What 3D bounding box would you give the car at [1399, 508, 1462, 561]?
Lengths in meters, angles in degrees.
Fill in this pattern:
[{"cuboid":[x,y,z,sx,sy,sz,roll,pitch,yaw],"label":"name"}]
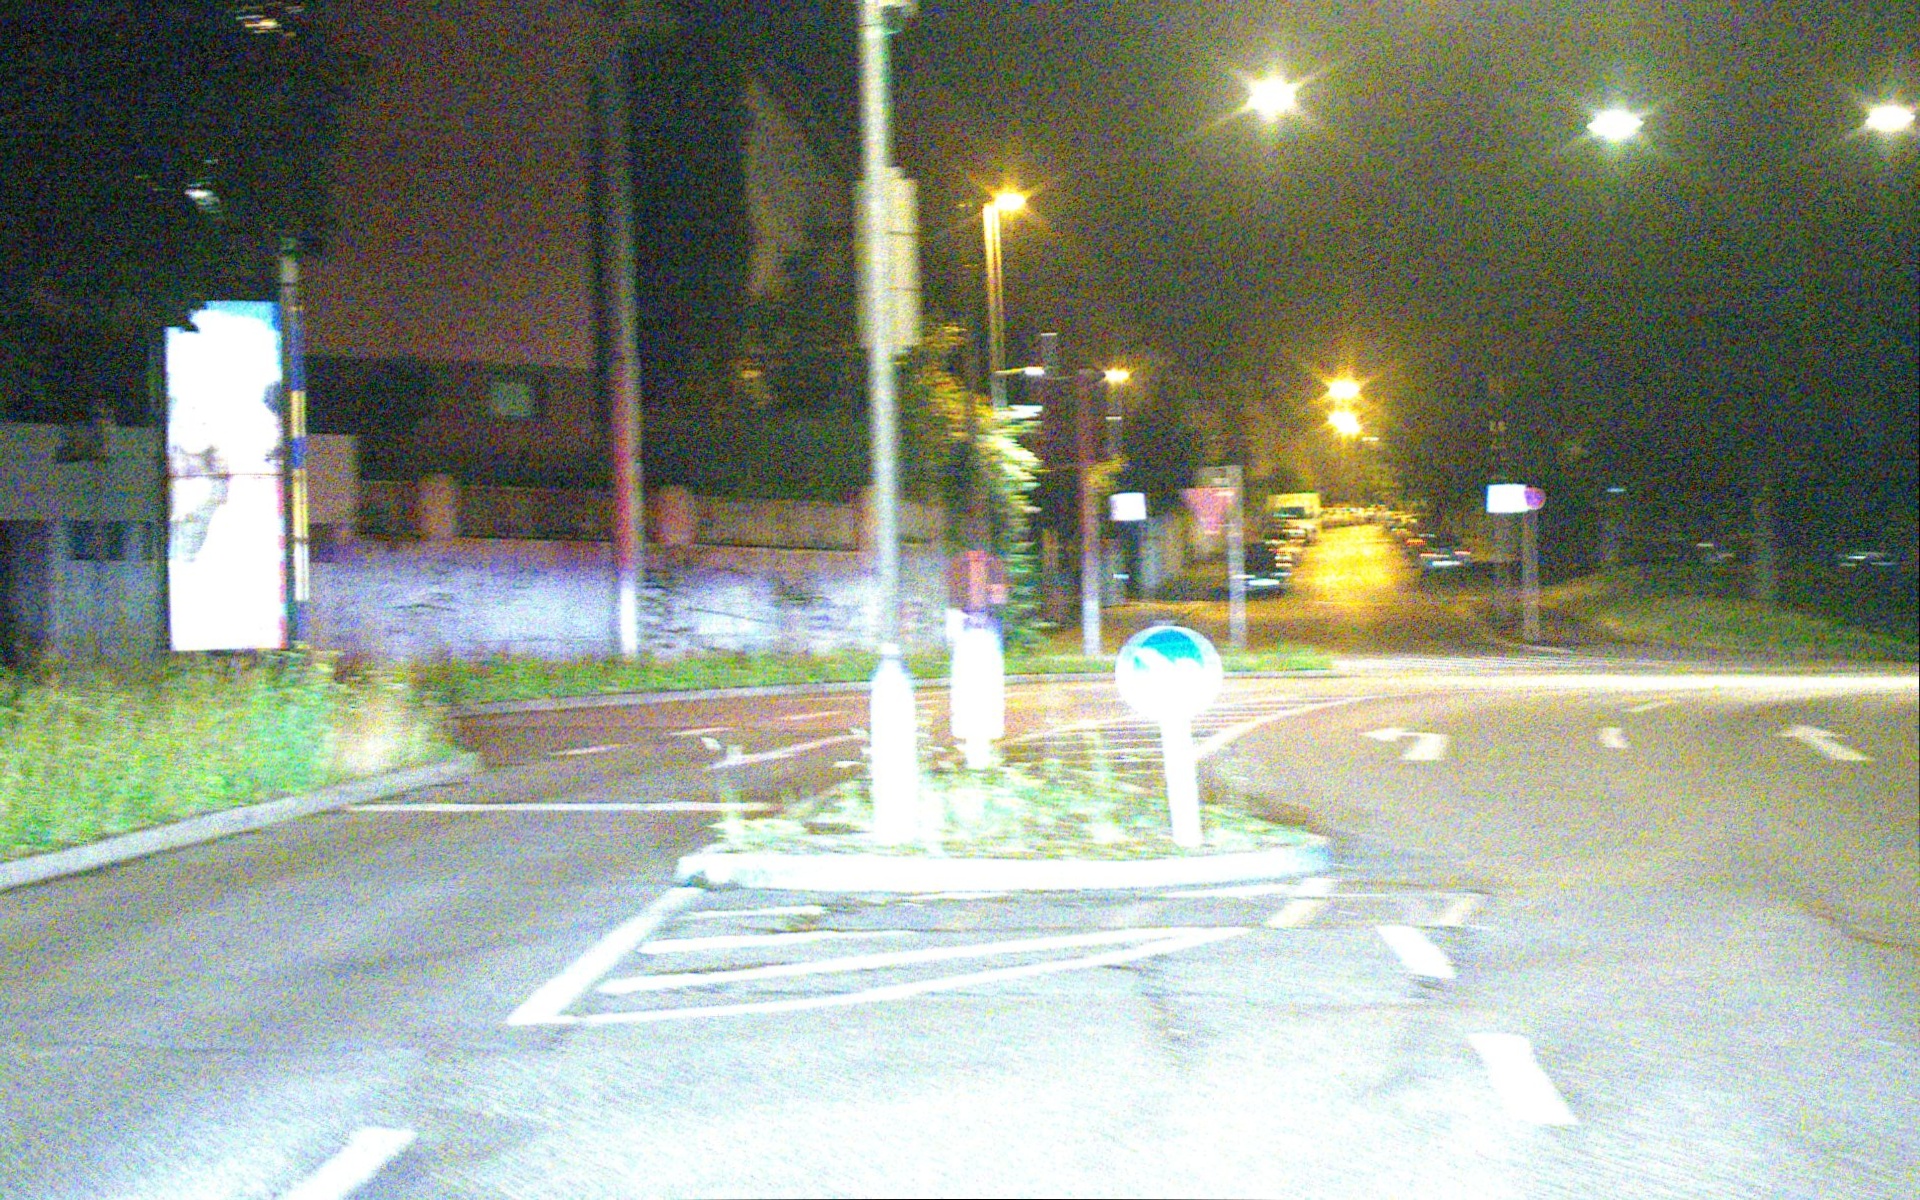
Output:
[{"cuboid":[16.129,-2.258,117.913,1.994,1.763,3.999,0,1,6],"label":"car"}]
